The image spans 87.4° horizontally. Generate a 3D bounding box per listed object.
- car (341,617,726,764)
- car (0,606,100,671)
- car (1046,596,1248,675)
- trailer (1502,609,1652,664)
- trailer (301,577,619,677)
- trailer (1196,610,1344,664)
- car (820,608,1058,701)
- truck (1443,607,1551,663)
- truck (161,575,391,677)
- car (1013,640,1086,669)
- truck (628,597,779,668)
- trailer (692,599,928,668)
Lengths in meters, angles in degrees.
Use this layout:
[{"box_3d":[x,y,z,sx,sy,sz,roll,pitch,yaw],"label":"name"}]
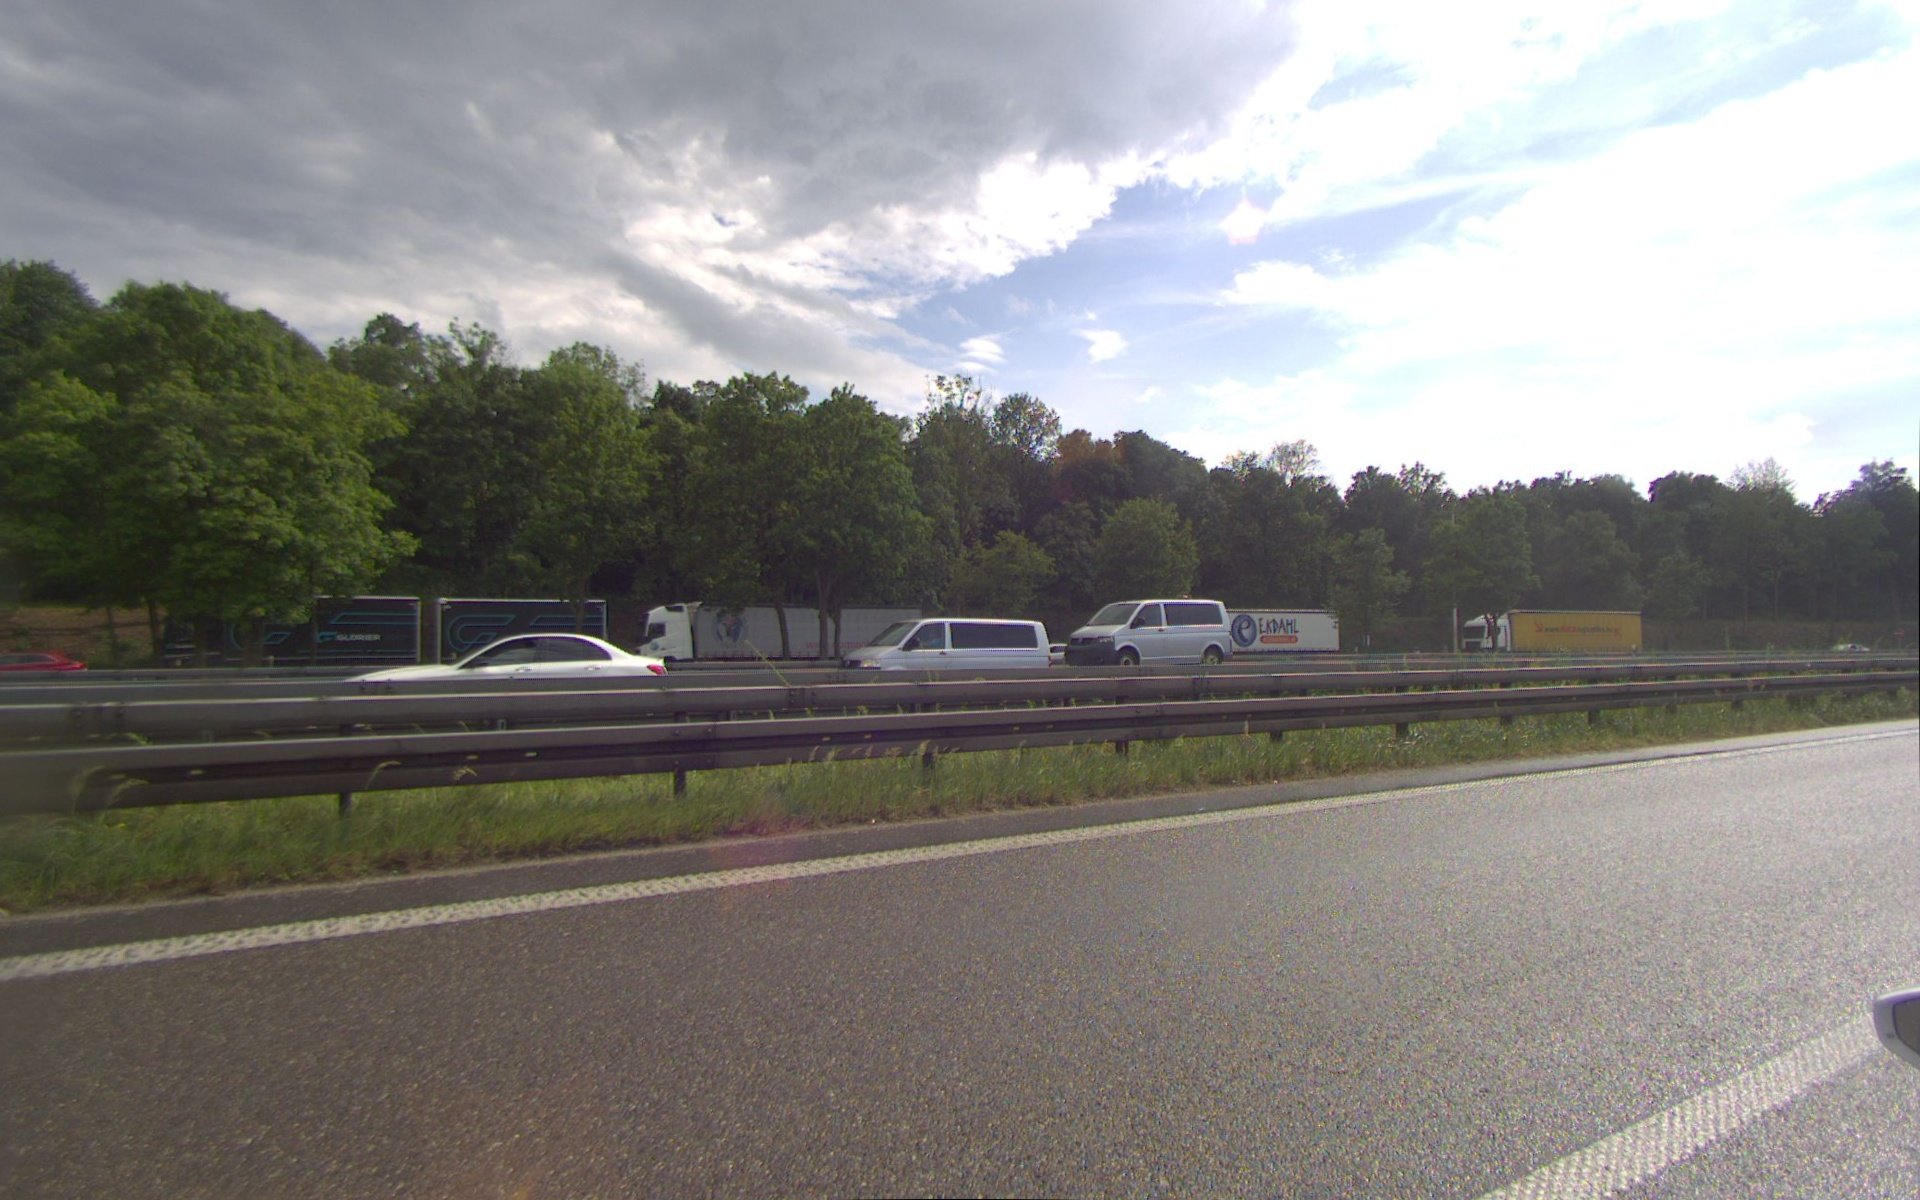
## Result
[{"box_3d":[-6.497,1.293,15.600,5.199,1.916,2.036,2,0,-31],"label":"car"},{"box_3d":[-39.197,1.519,40.682,6.137,2.515,2.779,2,0,-30],"label":"car"},{"box_3d":[4.977,0.926,26.526,5.199,1.916,2.036,2,0,-31],"label":"car"},{"box_3d":[50.817,3.013,82.744,11.537,4.171,3.786,2,0,-17],"label":"trailer"},{"box_3d":[-24.416,1.355,49.953,13.636,4.464,3.772,1,-1,-30],"label":"trailer"},{"box_3d":[22.510,2.687,72.814,10.348,3.697,3.780,1,-1,-23],"label":"trailer"},{"box_3d":[-0.427,1.221,23.300,5.199,1.916,2.036,2,0,-31],"label":"car"},{"box_3d":[42.888,2.771,80.311,6.932,4.171,3.786,2,0,-17],"label":"truck"},{"box_3d":[-30.964,1.214,46.088,8.318,4.290,3.770,2,0,-30],"label":"truck"},{"box_3d":[5.814,3.553,65.247,4.313,1.741,2.051,2,0,-28],"label":"car"},{"box_3d":[-14.093,1.775,55.263,7.268,3.637,3.770,2,0,-30],"label":"truck"},{"box_3d":[-8.529,1.937,58.467,13.186,3.697,3.772,1,-2,-30],"label":"trailer"}]
